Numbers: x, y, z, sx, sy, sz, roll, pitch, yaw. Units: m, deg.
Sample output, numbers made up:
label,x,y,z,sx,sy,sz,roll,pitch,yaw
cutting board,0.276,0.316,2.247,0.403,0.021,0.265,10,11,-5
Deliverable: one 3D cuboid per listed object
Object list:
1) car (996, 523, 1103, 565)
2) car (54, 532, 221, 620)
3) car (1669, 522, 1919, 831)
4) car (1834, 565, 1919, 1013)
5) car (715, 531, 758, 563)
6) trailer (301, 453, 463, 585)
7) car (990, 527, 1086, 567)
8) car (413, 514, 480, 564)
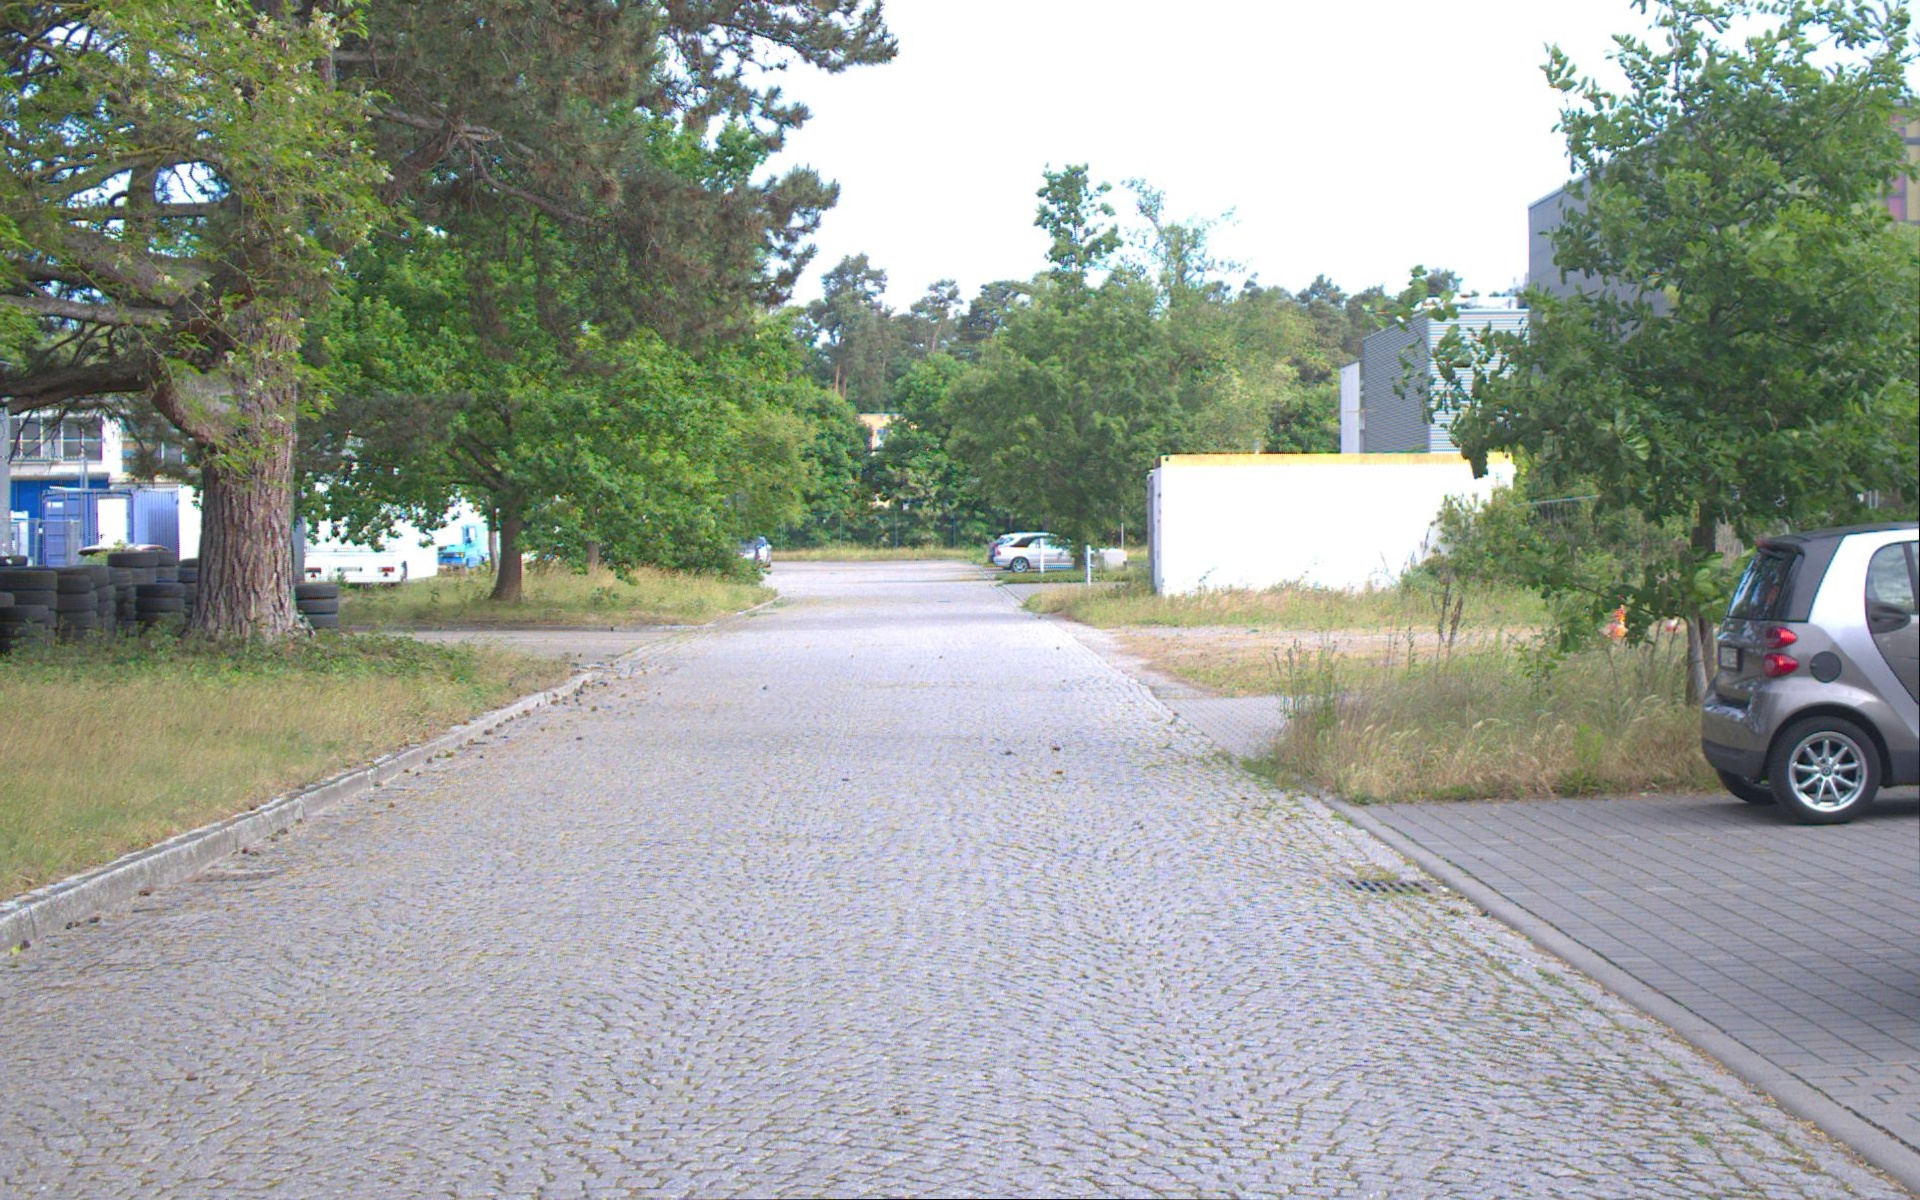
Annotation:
label,x,y,z,sx,sy,sz,roll,pitch,yaw
car,3.413,-2.146,131.199,3.984,1.443,1.653,-2,1,0
car,-14.344,-0.441,60.161,1.626,1.428,4.063,0,2,5
car,5.414,0.352,18.723,2.710,1.551,1.654,-3,1,1
car,5.411,0.540,11.371,4.490,1.470,1.831,-3,1,-3
car,-9.760,-2.340,150.020,1.648,1.364,3.998,0,1,-1
trailer,-16.378,-2.296,98.162,2.625,3.585,10.177,0,1,2
car,2.905,-1.996,128.505,3.522,1.357,1.622,-2,1,0
car,-20.568,-2.456,137.947,1.993,2.007,4.767,0,1,0
